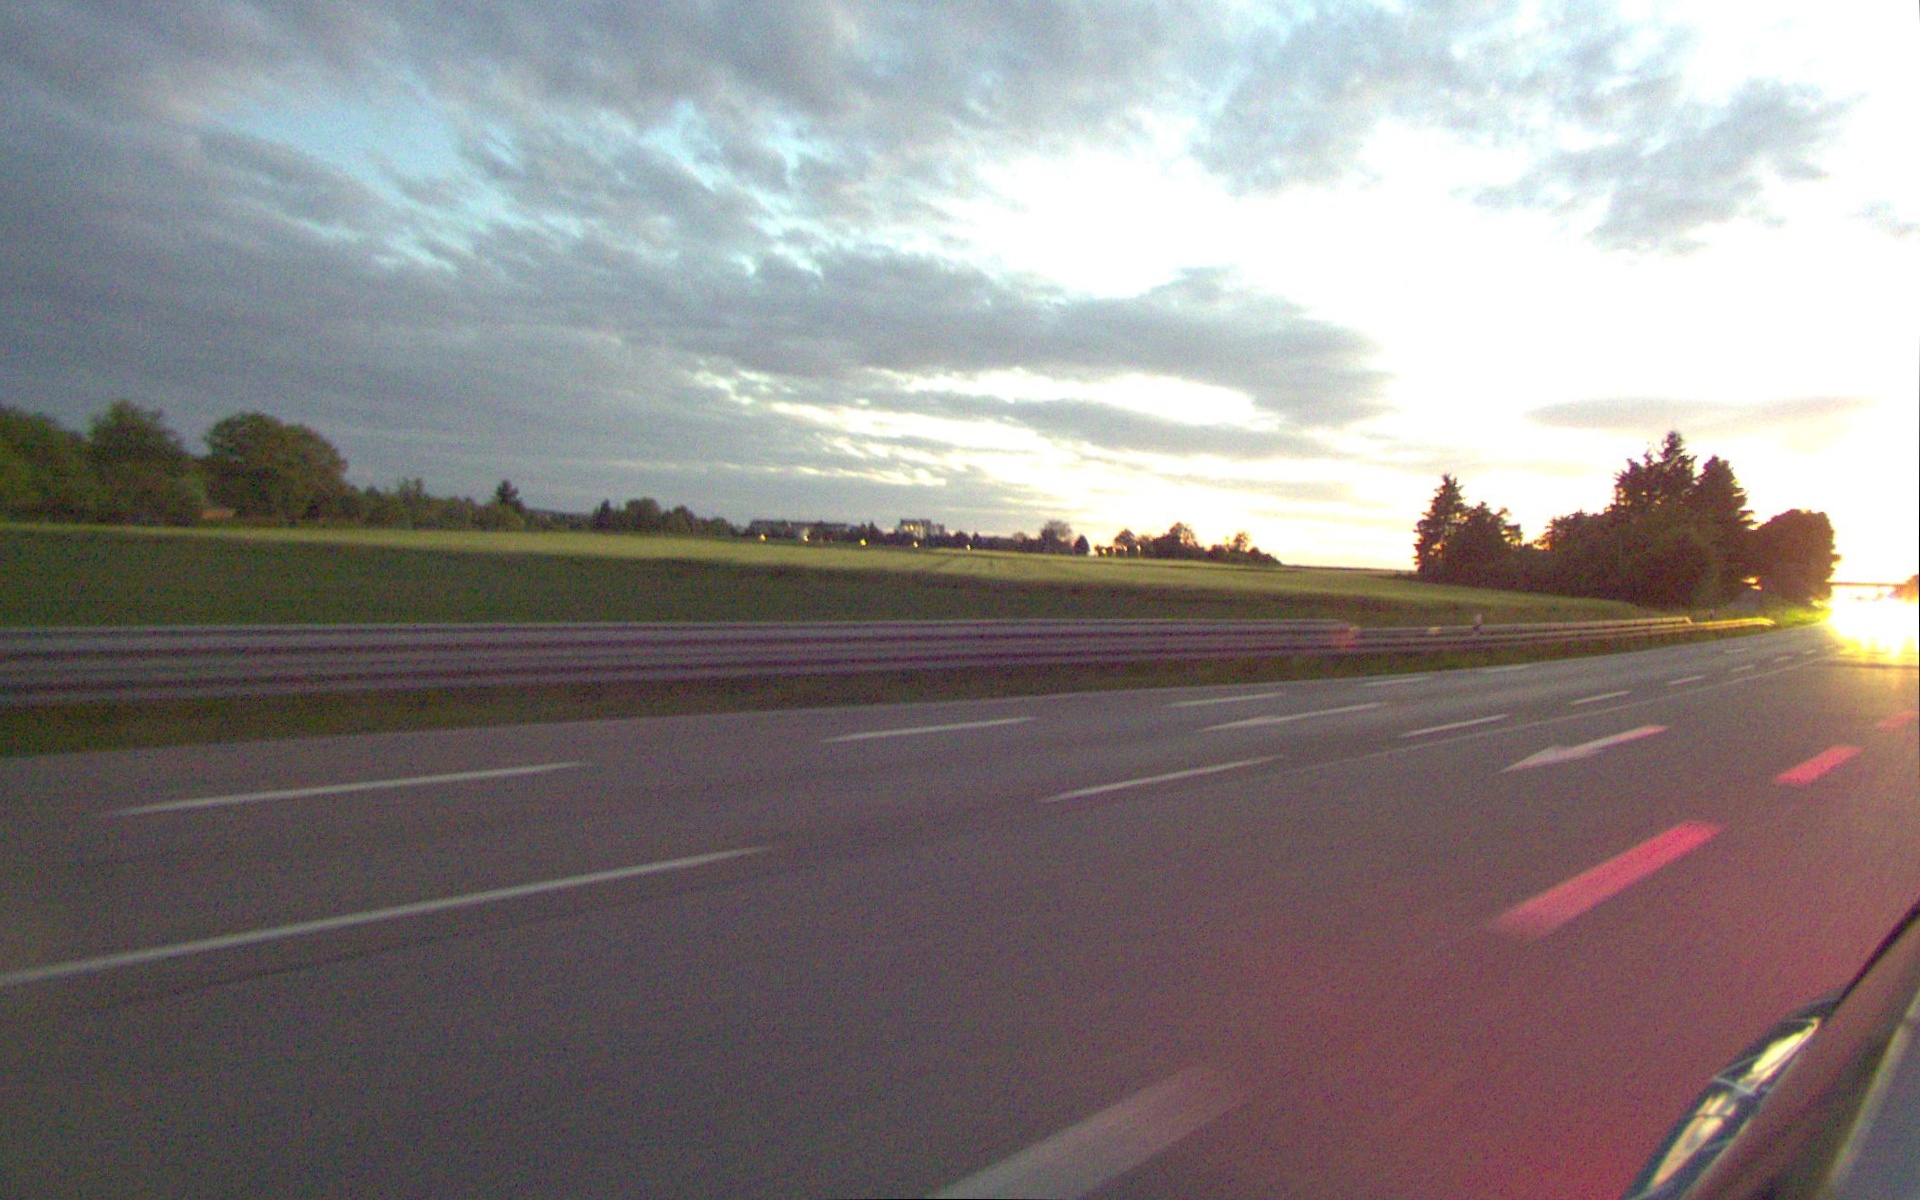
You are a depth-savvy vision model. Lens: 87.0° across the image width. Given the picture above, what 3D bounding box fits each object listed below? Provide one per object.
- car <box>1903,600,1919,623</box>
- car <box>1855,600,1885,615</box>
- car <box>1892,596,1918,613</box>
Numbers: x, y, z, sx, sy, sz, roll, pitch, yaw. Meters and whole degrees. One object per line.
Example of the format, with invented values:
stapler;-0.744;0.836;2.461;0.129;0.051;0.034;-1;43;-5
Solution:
car;64.447;0.790;67.864;1.751;1.474;3.744;1;0;43
car;99.517;0.816;110.638;3.930;1.604;1.997;0;0;-41
car;112.371;0.517;120.281;3.930;2.039;1.860;0;0;-41
